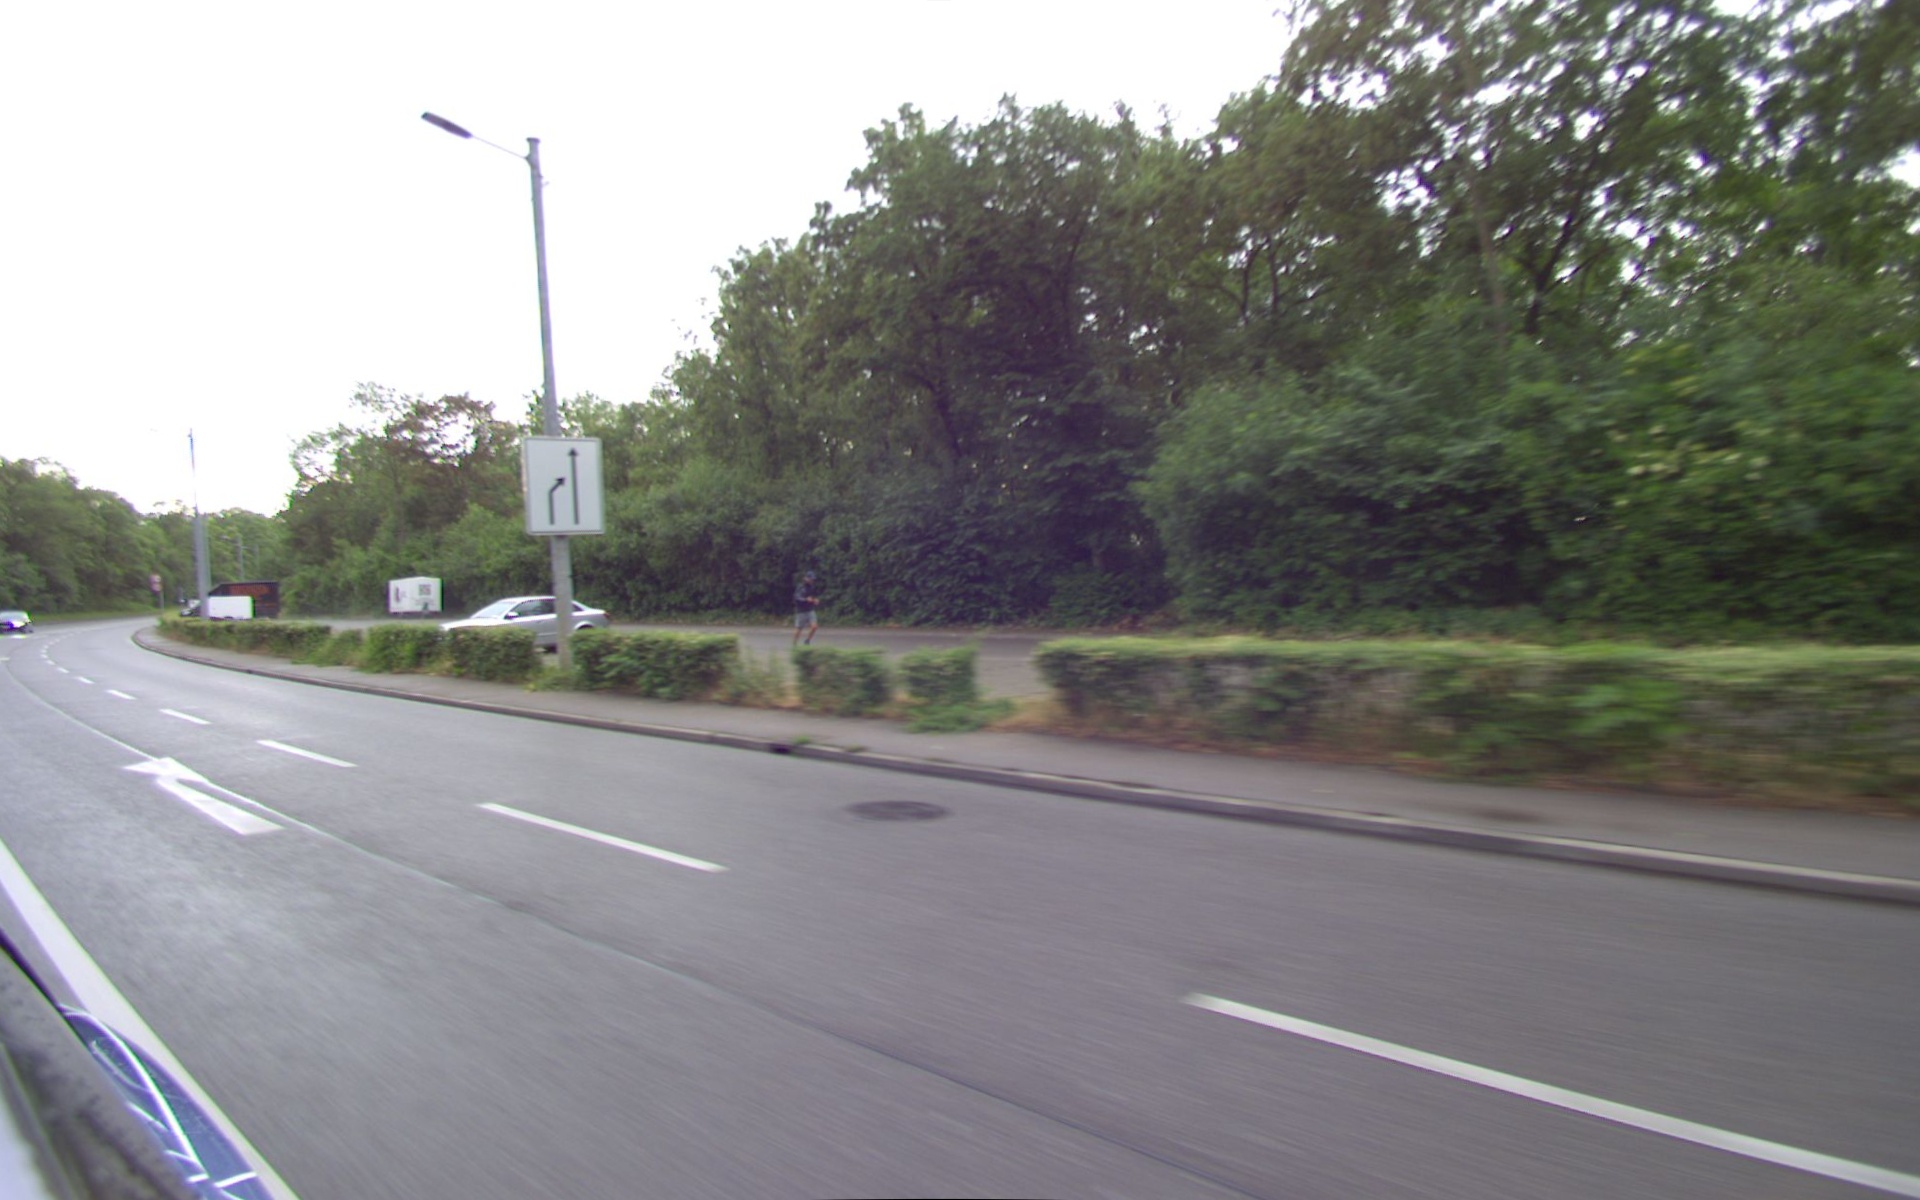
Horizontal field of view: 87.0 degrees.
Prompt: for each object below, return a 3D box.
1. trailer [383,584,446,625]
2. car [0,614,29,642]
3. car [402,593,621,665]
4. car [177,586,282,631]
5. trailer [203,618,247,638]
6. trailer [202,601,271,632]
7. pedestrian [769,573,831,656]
[{"bbox_3d":[-40.022,0.316,74.143,2.445,2.895,7.990,-1,0,-40],"label":"trailer"},{"bbox_3d":[-62.142,1.808,65.788,1.967,1.696,4.009,-1,0,-37],"label":"car"},{"bbox_3d":[-10.934,0.657,24.979,1.997,1.517,4.532,-1,1,38],"label":"car"},{"bbox_3d":[-54.988,0.597,76.291,6.194,3.136,2.756,-2,1,-40],"label":"car"},{"bbox_3d":[-39.869,1.508,54.891,1.780,1.042,1.335,-2,0,-44],"label":"trailer"},{"bbox_3d":[-51.505,1.163,72.084,3.935,2.068,1.877,-1,0,-37],"label":"trailer"},{"bbox_3d":[-3.608,0.316,22.789,1.135,1.811,0.808,-1,0,43],"label":"pedestrian"}]
